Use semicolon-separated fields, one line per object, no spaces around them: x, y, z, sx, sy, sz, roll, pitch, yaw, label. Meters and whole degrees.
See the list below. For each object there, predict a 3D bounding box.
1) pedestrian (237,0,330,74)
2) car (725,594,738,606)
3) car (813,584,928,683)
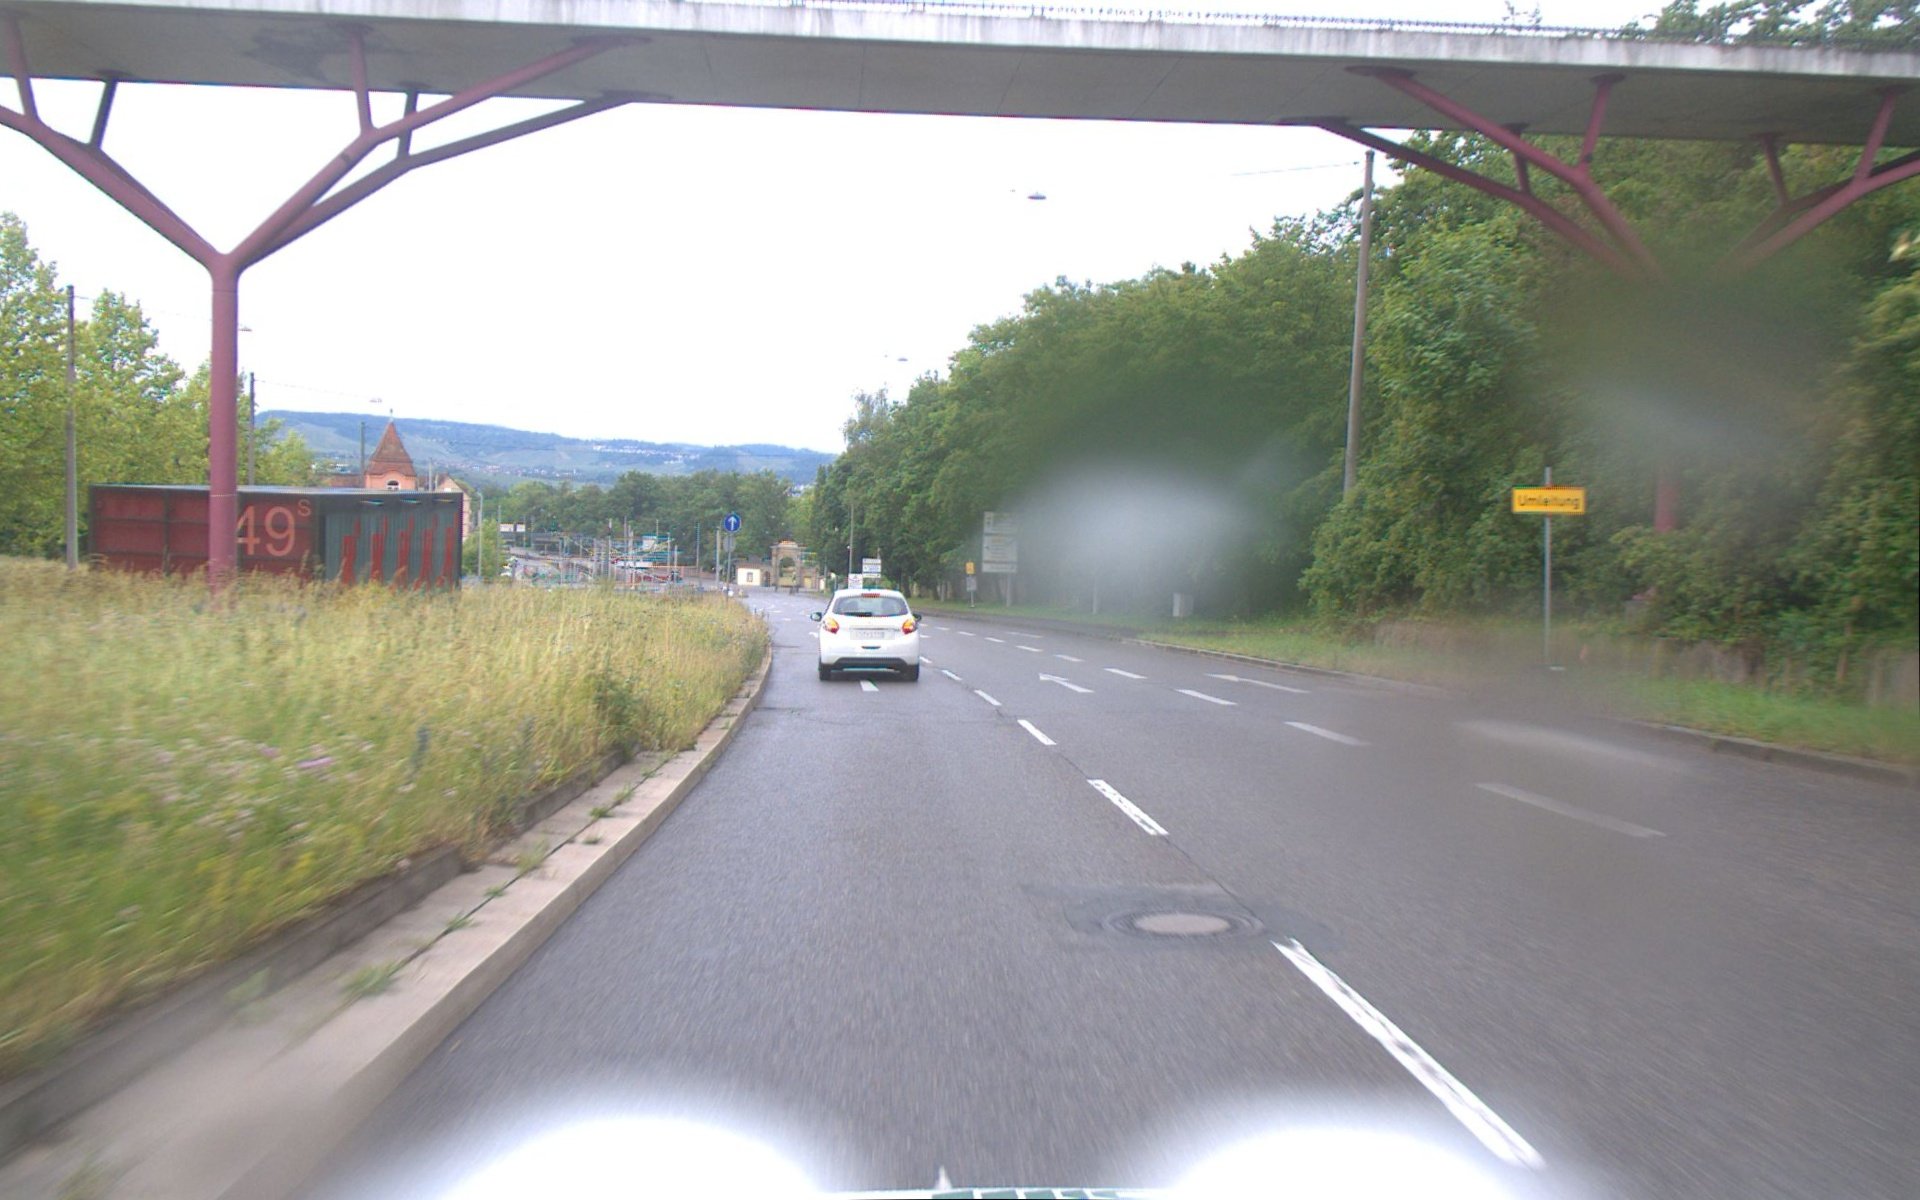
-8.609;-7.896;21.039;0.896;2.181;0.731;-1;0;-5;pedestrian
-32.548;-0.017;235.770;1.788;1.634;3.994;-1;1;-7;car
-1.562;0.514;28.317;1.832;1.537;3.896;0;1;-4;car
